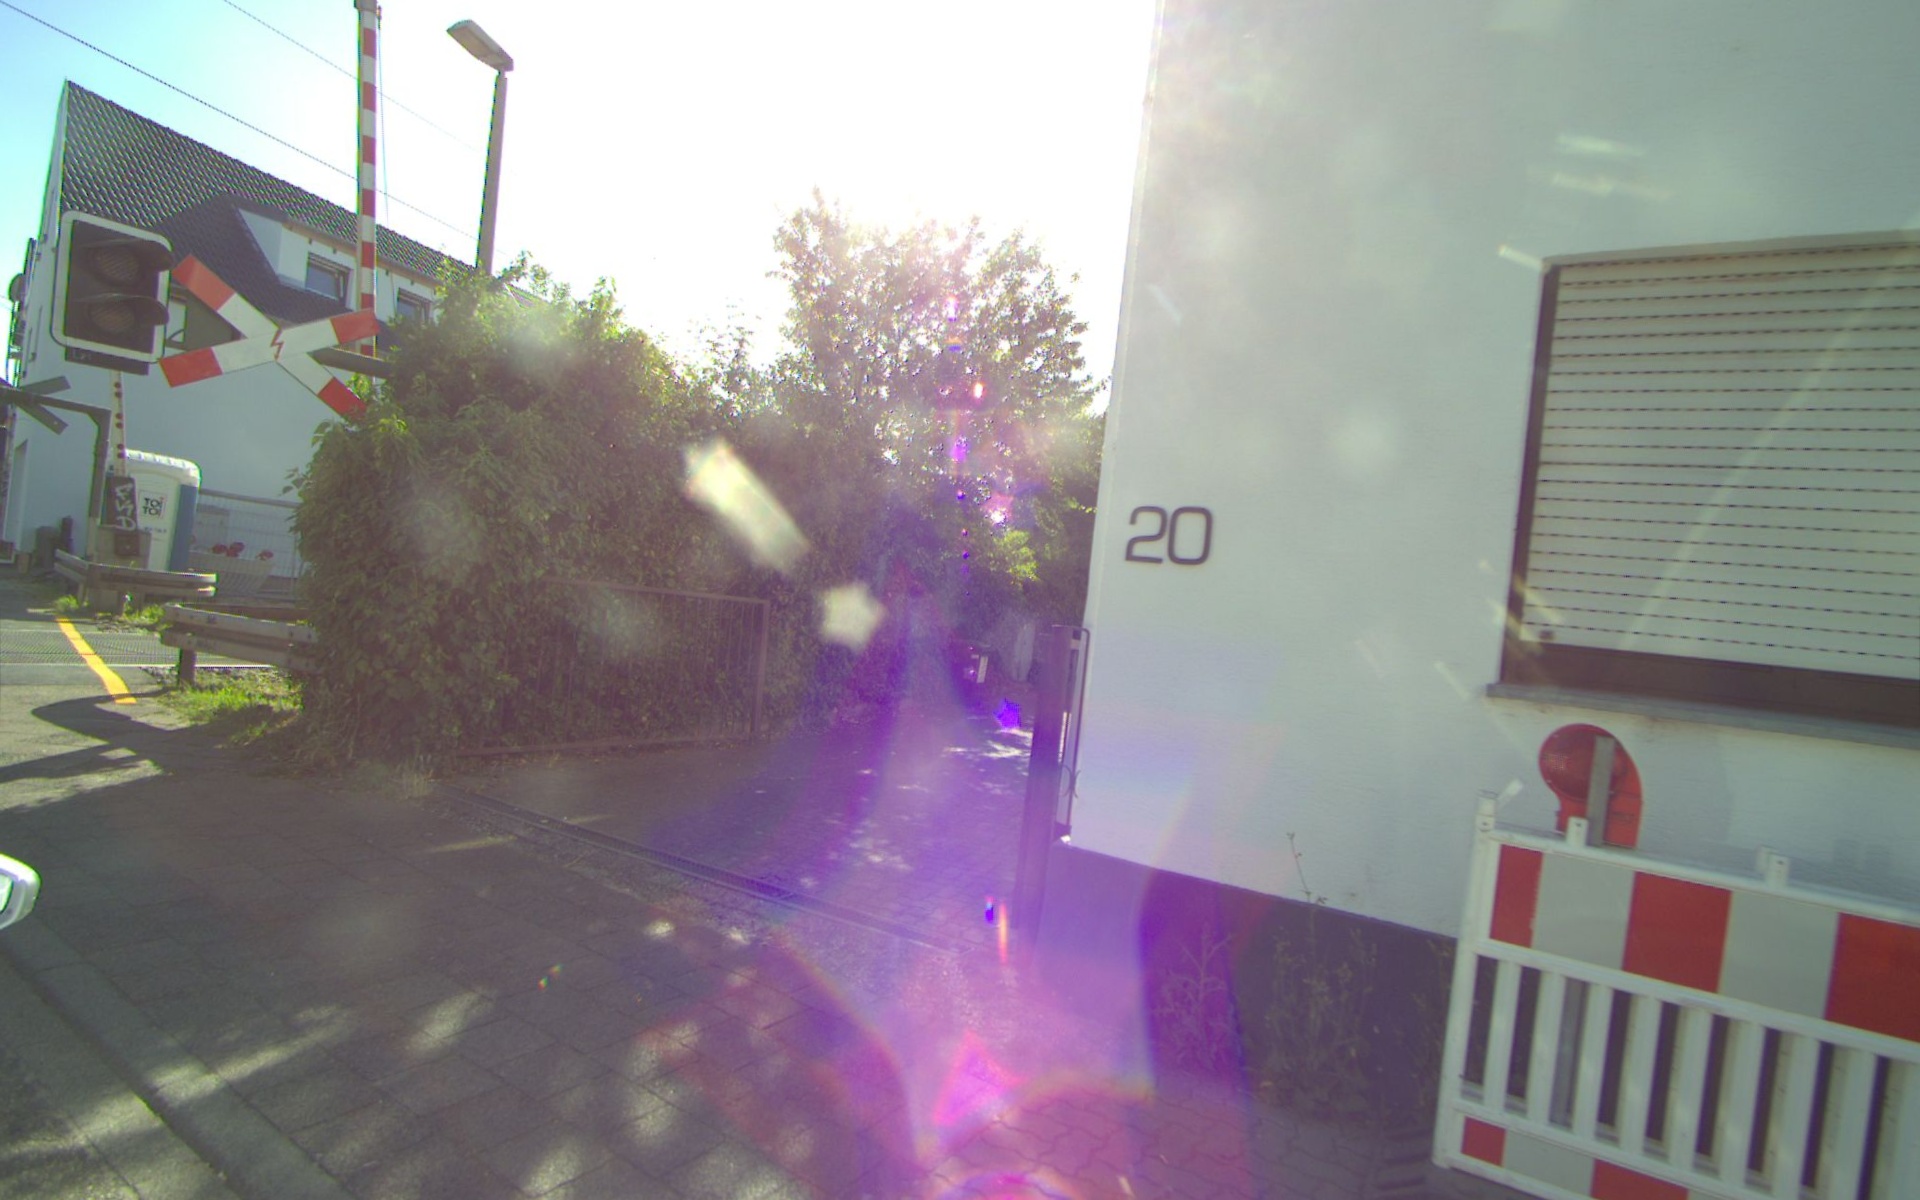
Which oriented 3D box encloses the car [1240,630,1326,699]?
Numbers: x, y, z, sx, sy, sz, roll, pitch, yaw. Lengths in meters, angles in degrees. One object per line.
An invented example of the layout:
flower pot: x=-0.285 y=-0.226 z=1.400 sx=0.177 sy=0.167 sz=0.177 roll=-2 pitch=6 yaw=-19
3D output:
car: x=9.565 y=1.882 z=29.634 sx=1.820 sy=1.704 sz=3.784 roll=5 pitch=-1 yaw=25

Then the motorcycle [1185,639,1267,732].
motorcycle: x=4.170 y=1.283 z=15.613 sx=0.849 sy=1.234 sz=2.682 roll=5 pitch=-1 yaw=21

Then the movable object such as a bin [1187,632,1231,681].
movable object such as a bin: x=8.064 y=1.825 z=32.584 sx=1.121 sy=1.448 sz=0.708 roll=6 pitch=0 yaw=26

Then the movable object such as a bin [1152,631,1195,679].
movable object such as a bin: x=7.018 y=1.815 z=33.081 sx=1.121 sy=1.448 sz=0.708 roll=6 pitch=0 yaw=26

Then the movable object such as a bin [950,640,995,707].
movable object such as a bin: x=0.187 y=1.066 z=14.632 sx=0.437 sy=0.915 sz=0.421 roll=6 pitch=0 yaw=25

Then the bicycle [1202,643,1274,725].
bicycle: x=4.891 y=1.434 z=17.561 sx=0.849 sy=1.234 sz=2.682 roll=5 pitch=-1 yaw=21

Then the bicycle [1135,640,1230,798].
bicycle: x=2.028 y=1.011 z=9.018 sx=0.478 sy=1.234 sz=1.715 roll=5 pitch=-1 yaw=21

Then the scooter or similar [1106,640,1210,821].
scooter or similar: x=1.566 y=0.957 z=7.802 sx=0.448 sy=1.234 sz=1.402 roll=5 pitch=-1 yaw=21

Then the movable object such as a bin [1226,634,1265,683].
movable object such as a bin: x=9.123 y=1.878 z=32.112 sx=0.983 sy=1.448 sz=0.698 roll=6 pitch=0 yaw=25
